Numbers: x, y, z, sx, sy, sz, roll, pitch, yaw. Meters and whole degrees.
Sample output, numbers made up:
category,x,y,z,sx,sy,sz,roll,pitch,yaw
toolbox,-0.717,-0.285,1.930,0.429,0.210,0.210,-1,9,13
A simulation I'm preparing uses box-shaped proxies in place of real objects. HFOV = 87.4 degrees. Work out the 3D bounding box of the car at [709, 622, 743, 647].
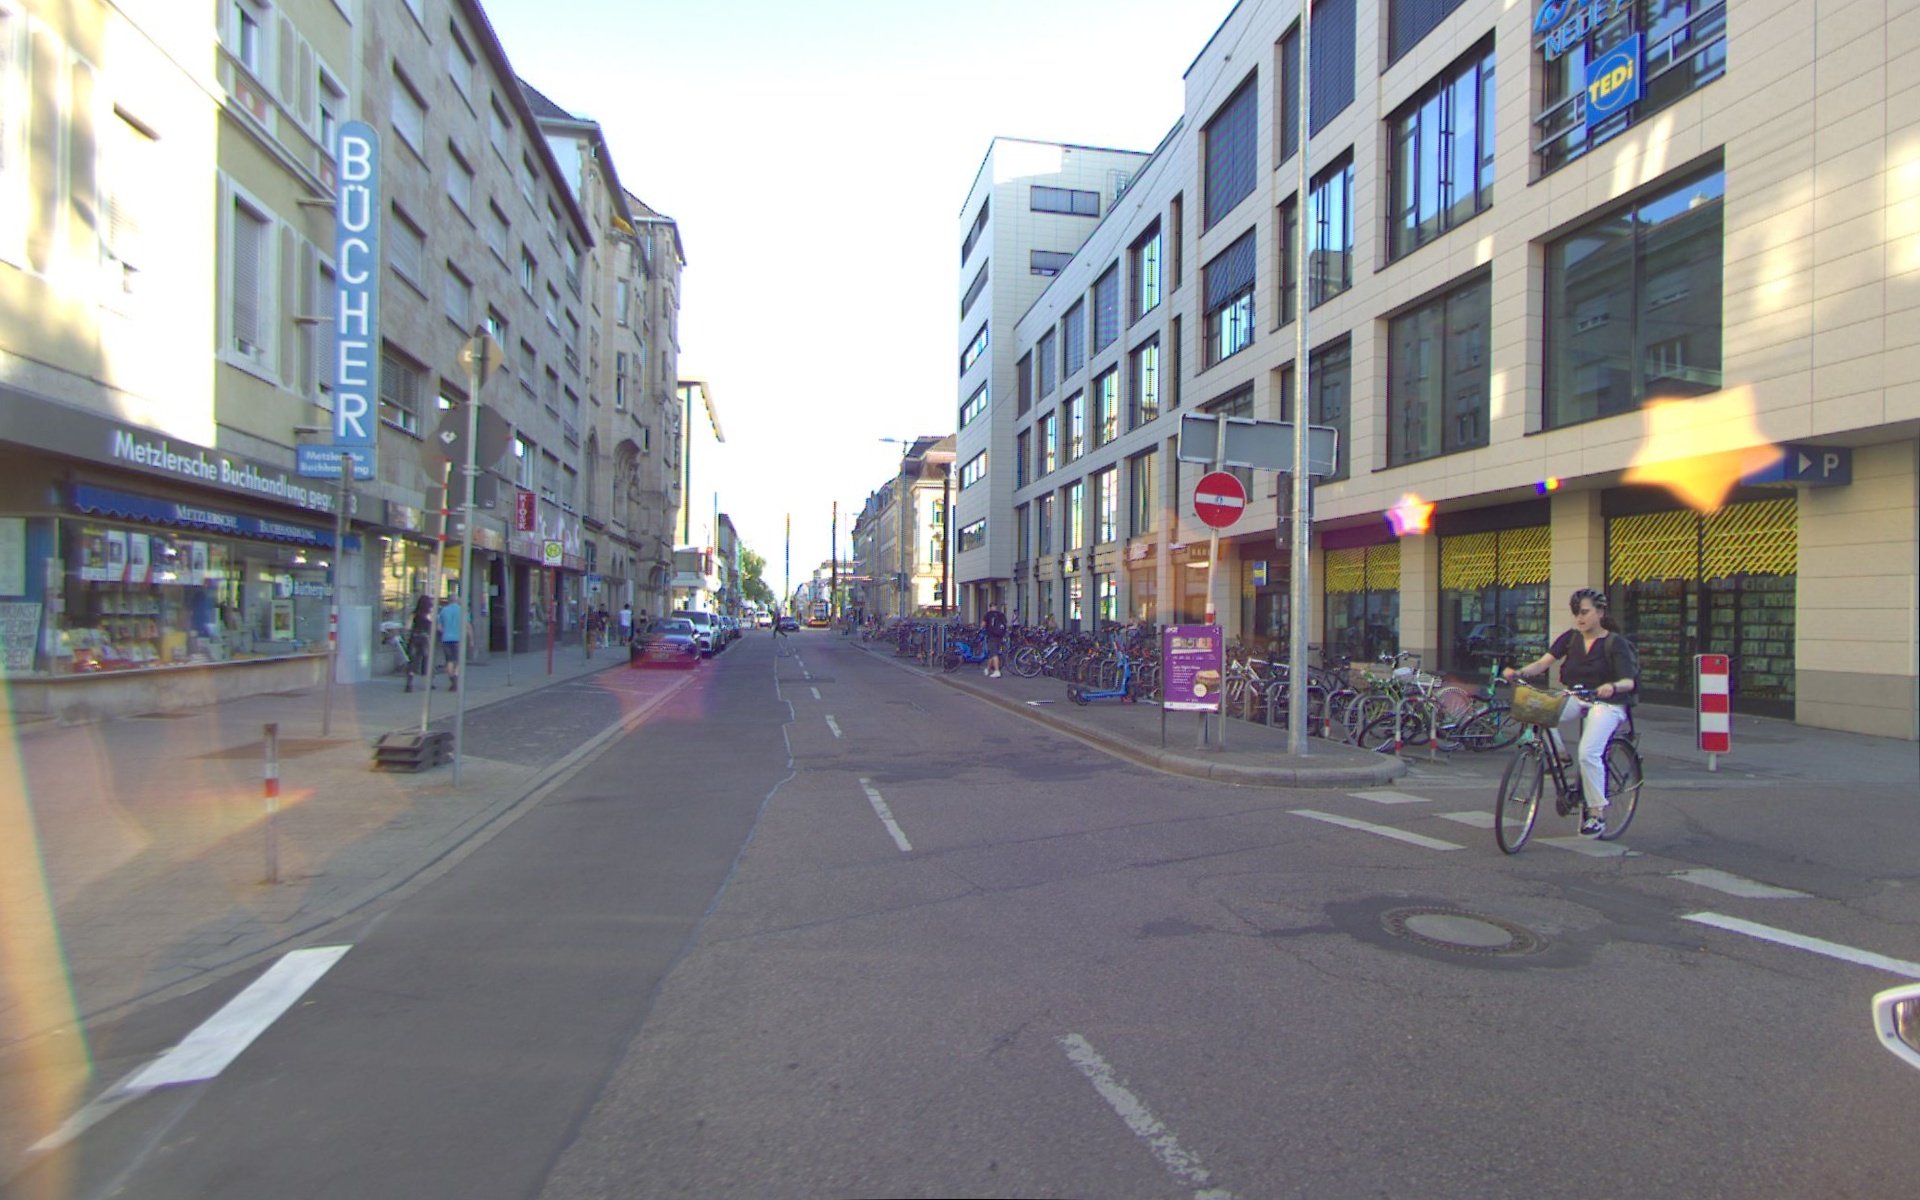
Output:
category,x,y,z,sx,sy,sz,roll,pitch,yaw
car,-13.822,2.029,59.300,1.832,1.409,3.990,1,-1,-13

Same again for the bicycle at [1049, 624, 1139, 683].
category,x,y,z,sx,sy,sz,roll,pitch,yaw
bicycle,3.056,1.221,22.888,1.944,1.271,0.512,2,-1,-13

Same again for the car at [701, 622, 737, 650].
category,x,y,z,sx,sy,sz,roll,pitch,yaw
car,-12.933,1.909,53.936,1.832,1.409,3.990,1,-1,-13

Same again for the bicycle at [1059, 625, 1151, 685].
category,x,y,z,sx,sy,sz,roll,pitch,yaw
bicycle,3.219,1.216,22.278,1.944,1.271,0.512,2,-1,-13

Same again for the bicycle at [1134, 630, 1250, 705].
category,x,y,z,sx,sy,sz,roll,pitch,yaw
bicycle,4.078,1.185,17.648,1.945,1.271,0.512,2,-1,-14

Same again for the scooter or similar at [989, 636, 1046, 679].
category,x,y,z,sx,sy,sz,roll,pitch,yaw
scooter or similar,1.344,1.327,23.323,1.249,0.954,0.387,2,-1,-13

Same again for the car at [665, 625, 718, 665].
category,x,y,z,sx,sy,sz,roll,pitch,yaw
car,-10.165,1.665,38.273,1.832,1.409,4.611,1,-1,-13

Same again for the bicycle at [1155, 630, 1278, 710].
category,x,y,z,sx,sy,sz,roll,pitch,yaw
bicycle,4.299,1.173,16.842,1.944,1.271,0.512,2,-1,-13

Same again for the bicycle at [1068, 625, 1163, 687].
category,x,y,z,sx,sy,sz,roll,pitch,yaw
bicycle,3.354,1.210,21.693,1.944,1.271,0.512,2,-1,-13

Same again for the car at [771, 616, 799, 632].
category,x,y,z,sx,sy,sz,roll,pitch,yaw
car,-16.165,2.195,92.523,1.969,1.372,3.983,1,-1,-19

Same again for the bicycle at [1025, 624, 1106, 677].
category,x,y,z,sx,sy,sz,roll,pitch,yaw
bicycle,2.645,1.259,25.230,1.944,1.271,0.512,2,-1,-13

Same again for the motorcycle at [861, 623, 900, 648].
category,x,y,z,sx,sy,sz,roll,pitch,yaw
motorcycle,-4.152,1.849,52.506,1.949,1.271,0.511,2,-1,-20

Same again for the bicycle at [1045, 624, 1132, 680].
category,x,y,z,sx,sy,sz,roll,pitch,yaw
bicycle,3.031,1.233,23.704,1.944,1.271,0.512,2,-1,-13

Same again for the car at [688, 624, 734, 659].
category,x,y,z,sx,sy,sz,roll,pitch,yaw
car,-10.869,1.794,43.969,1.832,1.409,3.990,1,-1,-13

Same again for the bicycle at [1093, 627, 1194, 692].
category,x,y,z,sx,sy,sz,roll,pitch,yaw
bicycle,3.704,1.201,20.312,1.944,1.271,0.512,2,-1,-13

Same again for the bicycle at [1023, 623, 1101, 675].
category,x,y,z,sx,sy,sz,roll,pitch,yaw
bicycle,2.642,1.272,26.023,1.944,1.271,0.512,2,-1,-13

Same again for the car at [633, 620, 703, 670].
category,x,y,z,sx,sy,sz,roll,pitch,yaw
car,-8.825,1.333,30.586,1.832,1.409,3.990,1,-1,-13

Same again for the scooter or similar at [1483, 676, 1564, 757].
category,x,y,z,sx,sy,sz,roll,pitch,yaw
scooter or similar,6.601,1.363,11.779,0.757,0.896,0.387,2,-1,-12

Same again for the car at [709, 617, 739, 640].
category,x,y,z,sx,sy,sz,roll,pitch,yaw
car,-15.452,1.845,65.698,1.832,1.409,3.990,1,-1,-13

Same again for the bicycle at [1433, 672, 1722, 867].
category,x,y,z,sx,sy,sz,roll,pitch,yaw
bicycle,4.171,1.093,6.787,1.793,1.153,0.663,2,-1,-19

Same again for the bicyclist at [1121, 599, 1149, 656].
category,x,y,z,sx,sy,sz,roll,pitch,yaw
bicyclist,5.429,0.852,31.220,0.672,1.718,0.643,1,0,-10

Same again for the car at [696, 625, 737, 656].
category,x,y,z,sx,sy,sz,roll,pitch,yaw
car,-11.767,1.922,48.574,1.832,1.409,3.990,1,-1,-13

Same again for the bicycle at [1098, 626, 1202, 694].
category,x,y,z,sx,sy,sz,roll,pitch,yaw
bicycle,3.710,1.180,19.634,1.944,1.271,0.512,2,-1,-13

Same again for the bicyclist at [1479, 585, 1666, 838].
category,x,y,z,sx,sy,sz,roll,pitch,yaw
bicyclist,4.115,0.719,6.775,0.849,1.591,0.658,2,-1,-17

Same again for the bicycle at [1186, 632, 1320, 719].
category,x,y,z,sx,sy,sz,roll,pitch,yaw
bicycle,4.478,1.160,15.368,1.944,1.271,0.512,2,-1,-13

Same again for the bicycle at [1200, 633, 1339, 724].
category,x,y,z,sx,sy,sz,roll,pitch,yaw
bicycle,4.557,1.153,14.802,1.944,1.271,0.512,2,-1,-13

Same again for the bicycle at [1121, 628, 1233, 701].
category,x,y,z,sx,sy,sz,roll,pitch,yaw
bicycle,3.946,1.174,18.265,1.944,1.271,0.512,2,-1,-13

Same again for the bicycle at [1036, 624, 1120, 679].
category,x,y,z,sx,sy,sz,roll,pitch,yaw
bicycle,2.877,1.254,24.517,1.944,1.271,0.512,2,-1,-13

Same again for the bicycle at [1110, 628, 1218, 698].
category,x,y,z,sx,sy,sz,roll,pitch,yaw
bicycle,3.868,1.186,19.048,1.944,1.271,0.512,2,-1,-13

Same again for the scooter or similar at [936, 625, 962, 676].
category,x,y,z,sx,sy,sz,roll,pitch,yaw
scooter or similar,-0.296,1.311,26.268,0.506,1.259,1.269,2,-1,-8

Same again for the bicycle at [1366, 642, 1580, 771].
category,x,y,z,sx,sy,sz,roll,pitch,yaw
bicycle,5.447,1.114,10.682,2.105,1.271,0.664,2,-1,-15

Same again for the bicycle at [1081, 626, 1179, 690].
category,x,y,z,sx,sy,sz,roll,pitch,yaw
bicycle,3.552,1.206,20.977,1.944,1.271,0.512,2,-1,-13

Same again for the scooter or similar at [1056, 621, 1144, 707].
category,x,y,z,sx,sy,sz,roll,pitch,yaw
scooter or similar,2.128,0.974,15.310,1.249,1.277,0.387,2,-1,-13

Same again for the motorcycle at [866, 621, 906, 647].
category,x,y,z,sx,sy,sz,roll,pitch,yaw
motorcycle,-3.751,1.730,51.253,1.949,1.271,0.511,2,-1,-20

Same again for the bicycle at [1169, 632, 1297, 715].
category,x,y,z,sx,sy,sz,roll,pitch,yaw
bicycle,4.367,1.168,16.076,1.944,1.271,0.512,2,-1,-13

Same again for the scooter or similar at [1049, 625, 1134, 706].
category,x,y,z,sx,sy,sz,roll,pitch,yaw
scooter or similar,2.080,1.035,15.885,1.249,1.228,0.387,2,-1,-13

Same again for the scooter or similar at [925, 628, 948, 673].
category,x,y,z,sx,sy,sz,roll,pitch,yaw
scooter or similar,-0.667,1.412,28.252,0.506,1.196,1.269,2,-1,-8

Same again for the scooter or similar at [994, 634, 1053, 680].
category,x,y,z,sx,sy,sz,roll,pitch,yaw
scooter or similar,1.424,1.289,22.649,1.249,1.005,0.387,2,-1,-13

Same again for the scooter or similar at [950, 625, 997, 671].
category,x,y,z,sx,sy,sz,roll,pitch,yaw
scooter or similar,0.377,1.345,28.078,1.249,1.259,0.387,2,-1,-13
